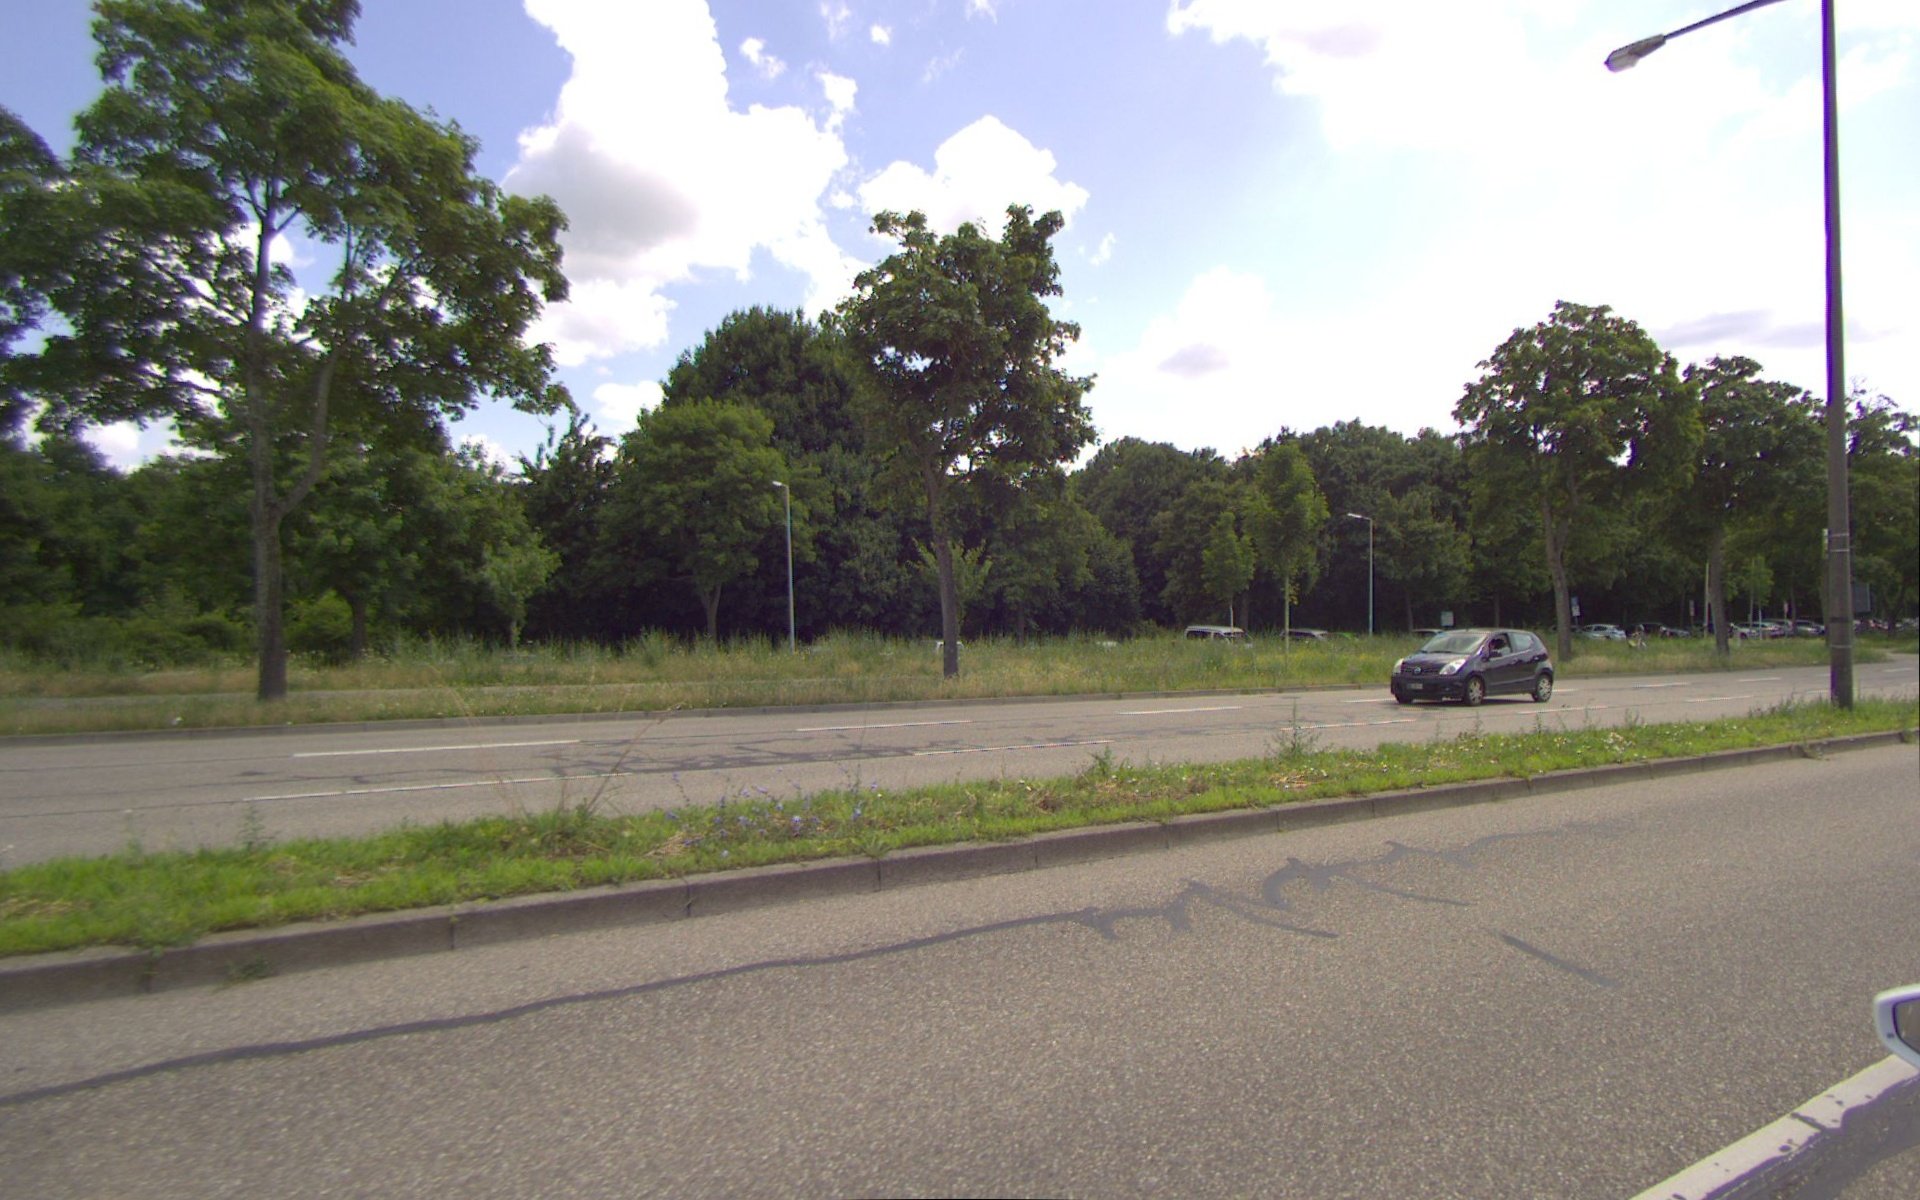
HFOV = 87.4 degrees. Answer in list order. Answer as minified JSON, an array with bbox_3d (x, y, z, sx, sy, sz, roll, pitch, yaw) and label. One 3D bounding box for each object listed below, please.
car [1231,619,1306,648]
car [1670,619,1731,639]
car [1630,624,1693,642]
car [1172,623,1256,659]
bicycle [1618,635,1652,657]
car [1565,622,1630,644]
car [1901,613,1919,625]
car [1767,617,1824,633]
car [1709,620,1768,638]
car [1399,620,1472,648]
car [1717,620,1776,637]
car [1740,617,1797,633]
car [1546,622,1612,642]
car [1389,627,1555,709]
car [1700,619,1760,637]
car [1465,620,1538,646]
[{"bbox_3d":[18.335,1.983,59.775,1.979,1.539,3.963,0,1,-33],"label":"car"},{"bbox_3d":[62.504,2.427,84.801,1.763,1.589,3.770,0,1,-28],"label":"car"},{"bbox_3d":[56.275,2.618,80.651,1.765,1.264,3.764,0,1,-32],"label":"car"},{"bbox_3d":[13.156,2.095,52.281,1.979,1.647,3.963,0,1,-33],"label":"car"},{"bbox_3d":[30.780,2.083,45.795,1.896,0.991,0.564,1,-1,-32],"label":"bicycle"},{"bbox_3d":[47.682,2.452,75.193,1.765,1.447,3.764,0,1,-32],"label":"car"},{"bbox_3d":[113.828,2.266,118.430,1.763,1.406,3.770,0,1,-28],"label":"car"},{"bbox_3d":[78.835,2.331,94.828,1.763,1.406,3.770,0,1,-28],"label":"car"},{"bbox_3d":[68.952,2.528,89.054,1.763,1.406,3.770,0,1,-28],"label":"car"},{"bbox_3d":[29.055,2.041,61.459,1.764,1.528,3.767,0,1,-30],"label":"car"},{"bbox_3d":[70.586,2.533,90.203,1.763,1.406,3.770,0,1,-28],"label":"car"},{"bbox_3d":[75.097,2.295,93.367,1.763,1.406,3.770,0,1,-28],"label":"car"},{"bbox_3d":[45.541,2.349,73.963,1.764,1.264,3.767,0,1,-30],"label":"car"},{"bbox_3d":[10.148,1.281,19.814,3.646,1.446,1.686,2,-2,-41],"label":"car"},{"bbox_3d":[67.312,2.411,87.888,1.763,1.406,3.770,0,1,-28],"label":"car"},{"bbox_3d":[34.915,2.086,64.824,1.764,1.528,3.767,0,1,-30],"label":"car"}]
